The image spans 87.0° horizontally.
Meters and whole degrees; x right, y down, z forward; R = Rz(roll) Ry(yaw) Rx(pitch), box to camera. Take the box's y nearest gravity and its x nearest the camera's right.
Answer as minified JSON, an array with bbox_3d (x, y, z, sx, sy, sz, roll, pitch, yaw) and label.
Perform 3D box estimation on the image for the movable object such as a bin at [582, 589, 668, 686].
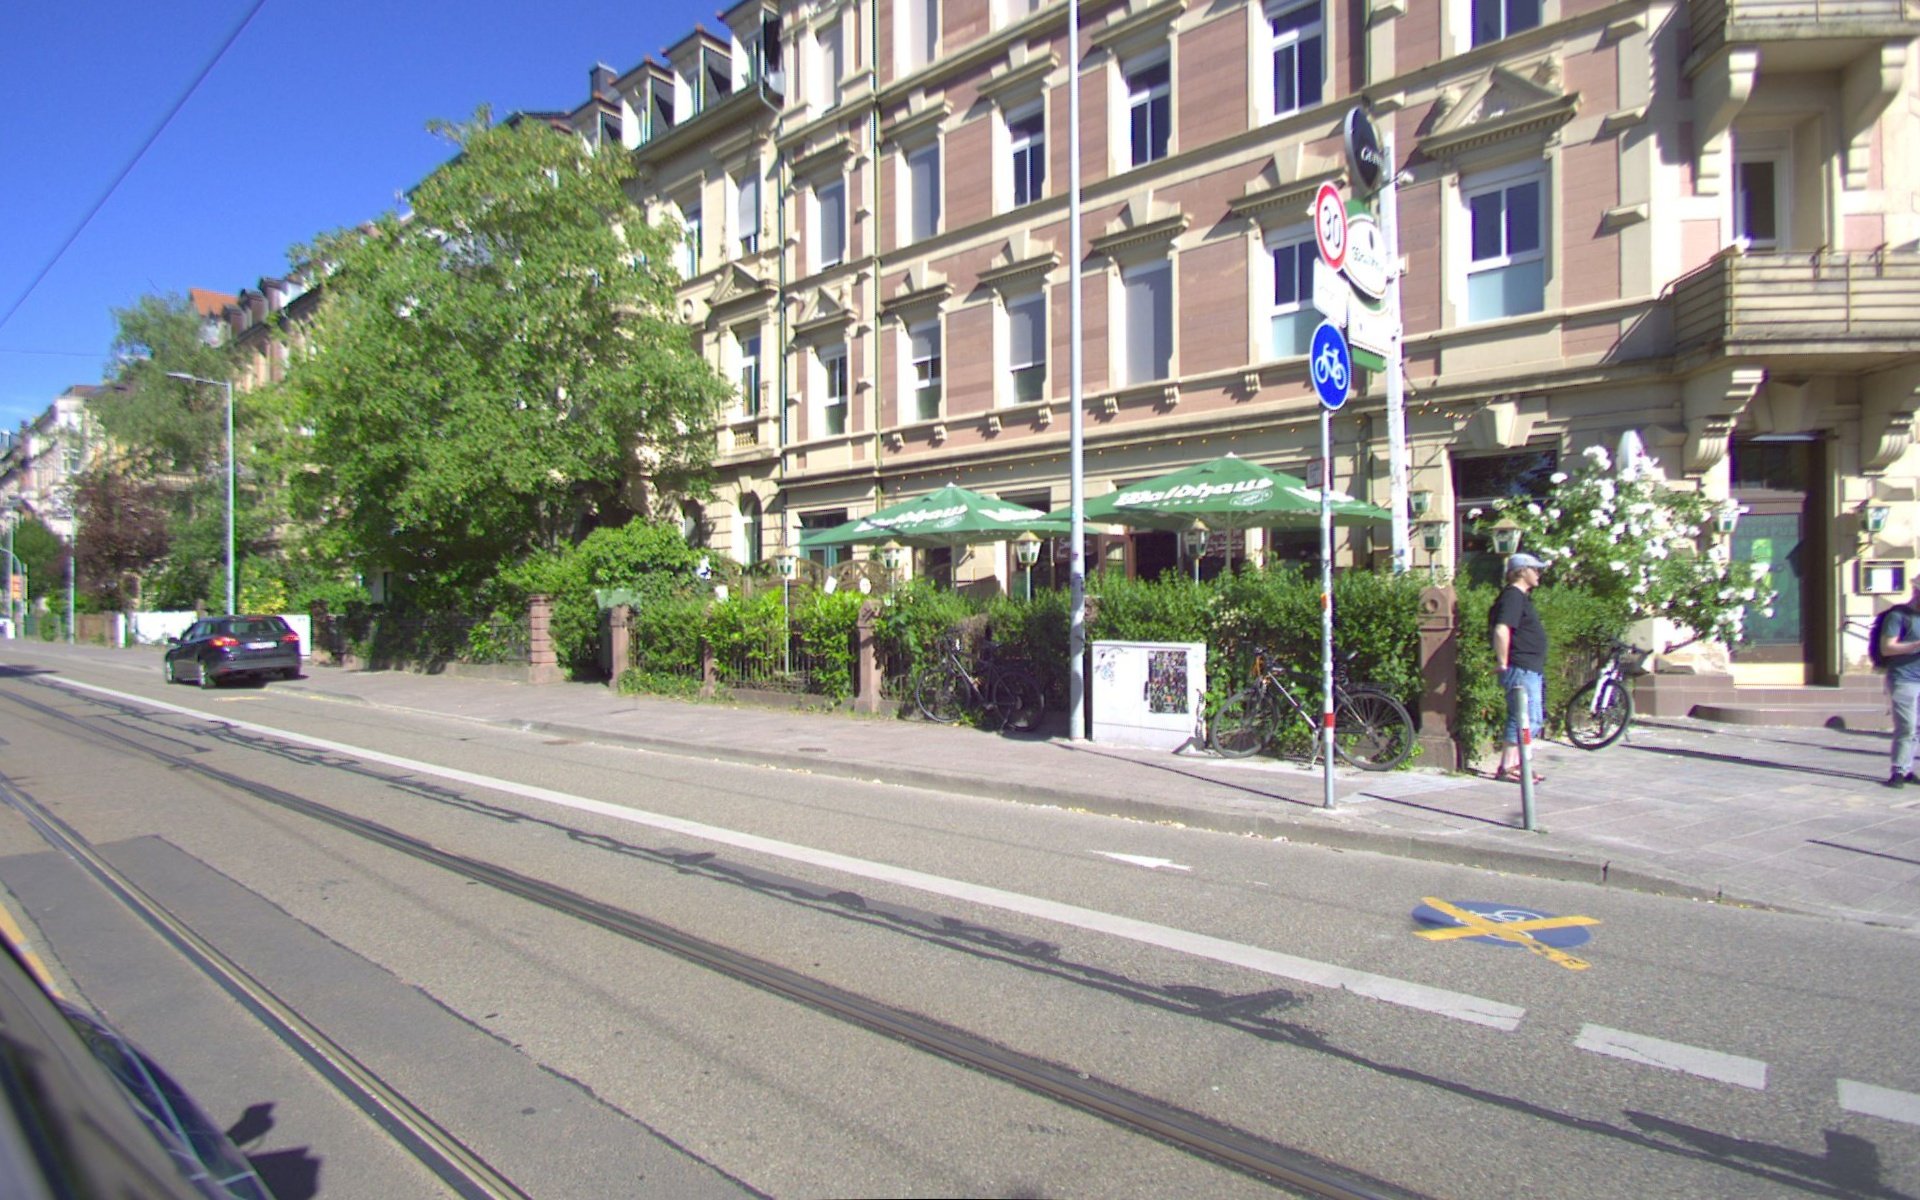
[{"bbox_3d":[-6.489,0.704,19.588,1.268,1.744,1.045,-3,1,-33],"label":"movable object such as a bin"}]

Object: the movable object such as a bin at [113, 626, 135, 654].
[{"bbox_3d":[-36.324,1.722,43.960,0.664,1.184,0.583,-1,-1,36],"label":"movable object such as a bin"}]

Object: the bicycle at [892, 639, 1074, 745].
[{"bbox_3d":[0.210,0.981,11.301,2.222,1.046,0.508,-1,-1,42],"label":"bicycle"}]

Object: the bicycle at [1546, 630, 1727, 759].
[{"bbox_3d":[6.626,0.854,9.865,2.211,1.052,0.877,0,0,-40],"label":"bicycle"}]

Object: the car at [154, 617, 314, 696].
[{"bbox_3d":[-16.207,1.207,22.509,4.586,1.588,1.845,-1,-3,41],"label":"car"}]

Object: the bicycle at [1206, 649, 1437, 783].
[{"bbox_3d":[3.037,0.937,8.630,1.777,0.988,0.522,-1,-1,41],"label":"bicycle"}]

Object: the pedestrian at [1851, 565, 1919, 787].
[{"bbox_3d":[7.524,0.570,7.728,0.695,1.667,0.835,0,0,-18],"label":"pedestrian"}]

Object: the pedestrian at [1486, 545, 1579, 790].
[{"bbox_3d":[4.431,0.499,7.828,0.538,1.795,0.551,-1,-1,38],"label":"pedestrian"}]
